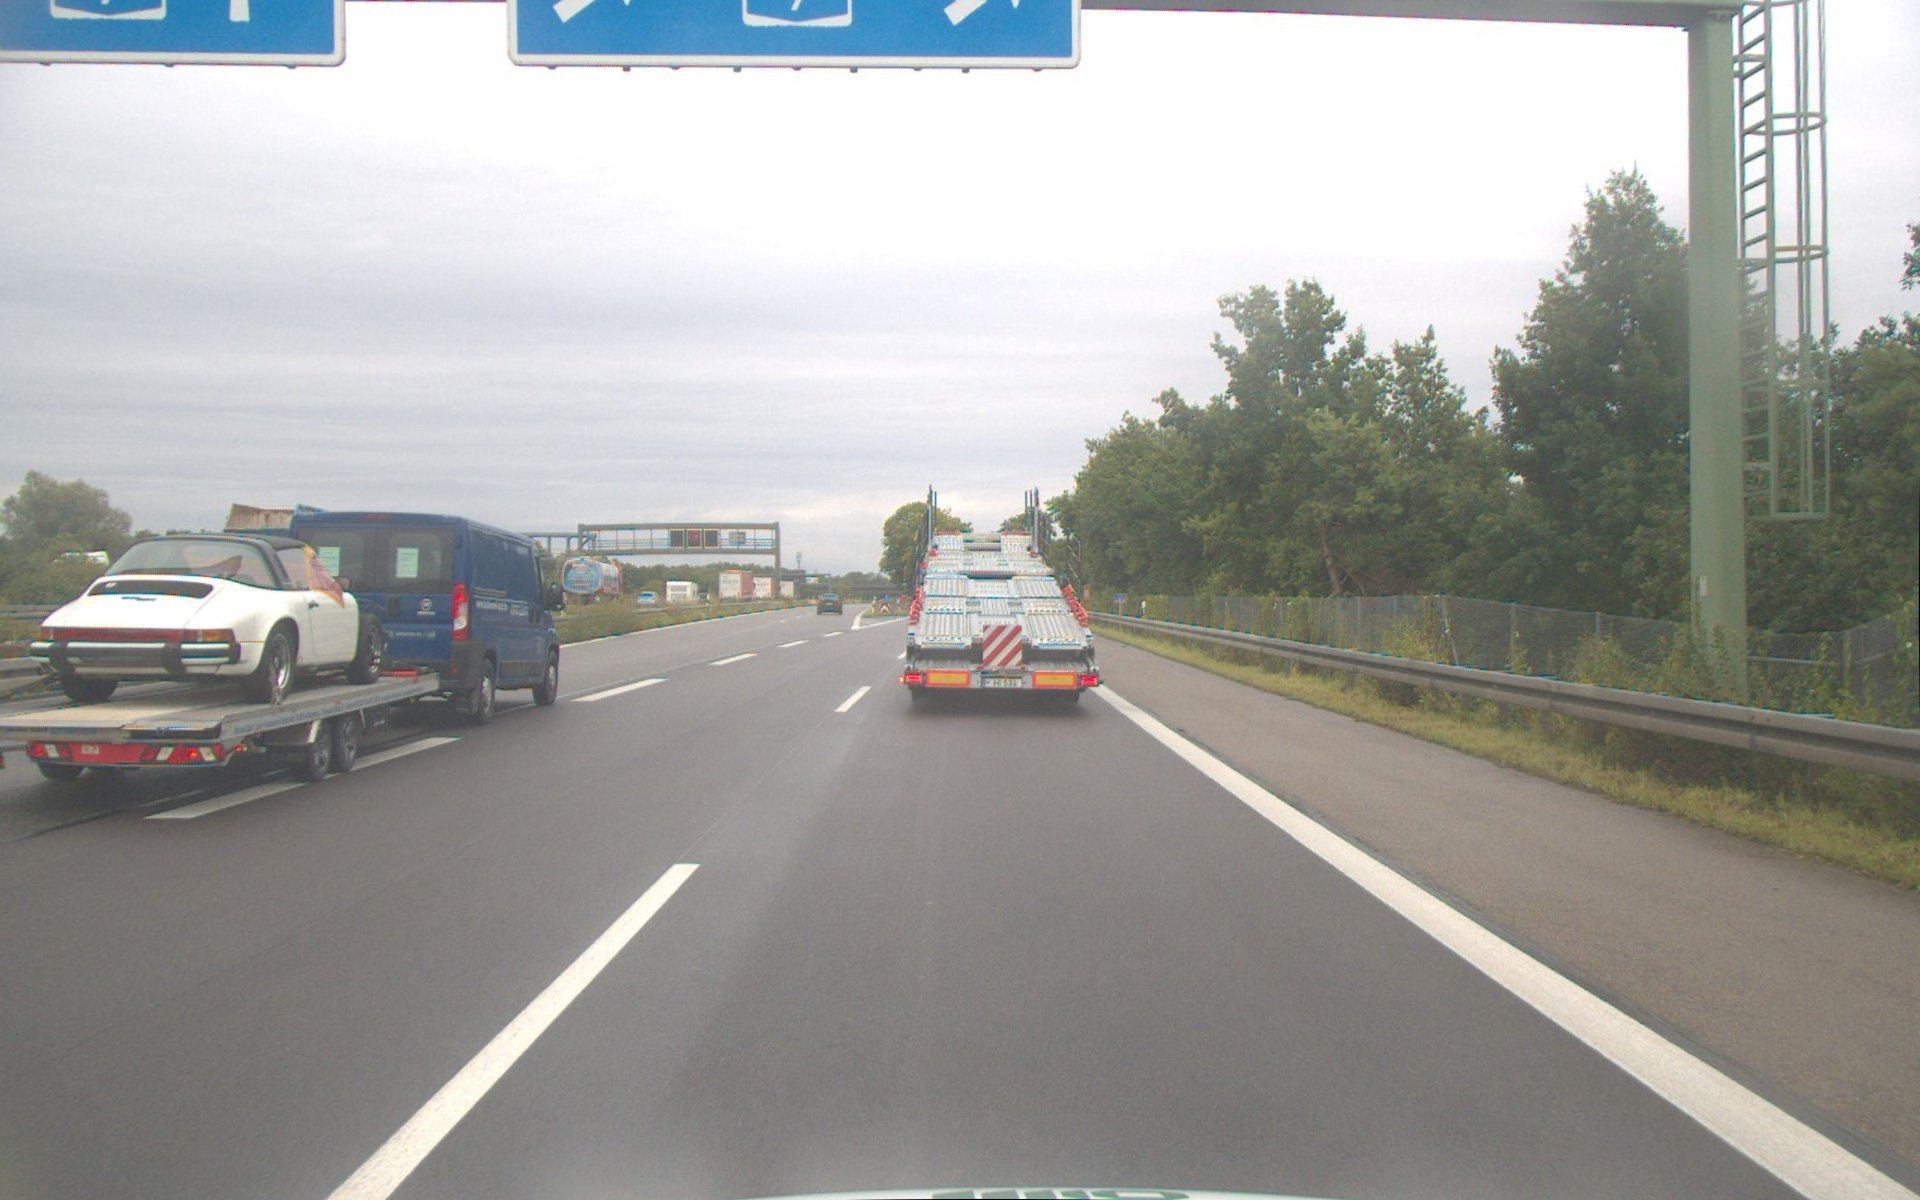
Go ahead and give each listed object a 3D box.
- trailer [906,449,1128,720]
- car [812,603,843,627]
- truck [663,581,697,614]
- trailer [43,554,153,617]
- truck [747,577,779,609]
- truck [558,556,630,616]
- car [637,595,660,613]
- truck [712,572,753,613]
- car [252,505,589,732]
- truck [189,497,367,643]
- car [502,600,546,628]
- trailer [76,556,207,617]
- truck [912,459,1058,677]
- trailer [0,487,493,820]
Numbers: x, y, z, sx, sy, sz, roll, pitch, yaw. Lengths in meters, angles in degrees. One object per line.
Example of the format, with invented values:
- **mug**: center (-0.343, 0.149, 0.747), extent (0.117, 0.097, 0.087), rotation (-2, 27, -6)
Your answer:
- **trailer**: center (0.593, -0.211, 25.853), extent (2.721, 3.342, 10.404), rotation (1, 0, -1)
- **car**: center (-9.368, 1.070, 117.288), extent (1.922, 1.666, 5.622), rotation (1, -1, -3)
- **truck**: center (-24.199, -0.203, 143.176), extent (2.198, 2.751, 5.276), rotation (1, 0, -3)
- **trailer**: center (-49.394, -0.824, 94.991), extent (2.901, 3.462, 7.266), rotation (1, 0, -4)
- **truck**: center (-28.101, -1.003, 236.404), extent (3.658, 4.494, 11.890), rotation (1, 0, -3)
- **truck**: center (-21.947, -0.790, 99.622), extent (2.800, 3.424, 8.626), rotation (1, 0, -3)
- **car**: center (-28.595, 0.364, 151.820), extent (1.650, 1.557, 3.996), rotation (1, 0, -5)
- **truck**: center (-26.016, -0.841, 189.701), extent (3.658, 4.494, 10.190), rotation (1, 0, -3)
- **car**: center (-6.301, 0.195, 20.322), extent (2.325, 2.306, 6.253), rotation (1, 0, -3)
- **truck**: center (-19.633, -0.782, 48.134), extent (2.586, 3.879, 7.336), rotation (1, -1, -5)
- **car**: center (-26.258, 0.840, 99.774), extent (1.758, 1.584, 3.824), rotation (1, -1, -3)
- **trailer**: center (-49.849, -0.796, 101.236), extent (2.901, 3.462, 11.794), rotation (1, 0, -4)
- **truck**: center (0.383, -0.620, 35.640), extent (2.683, 4.037, 9.126), rotation (1, 0, -1)
- **trailer**: center (-5.952, 0.323, 13.720), extent (2.435, 2.029, 7.059), rotation (1, 0, -3)
